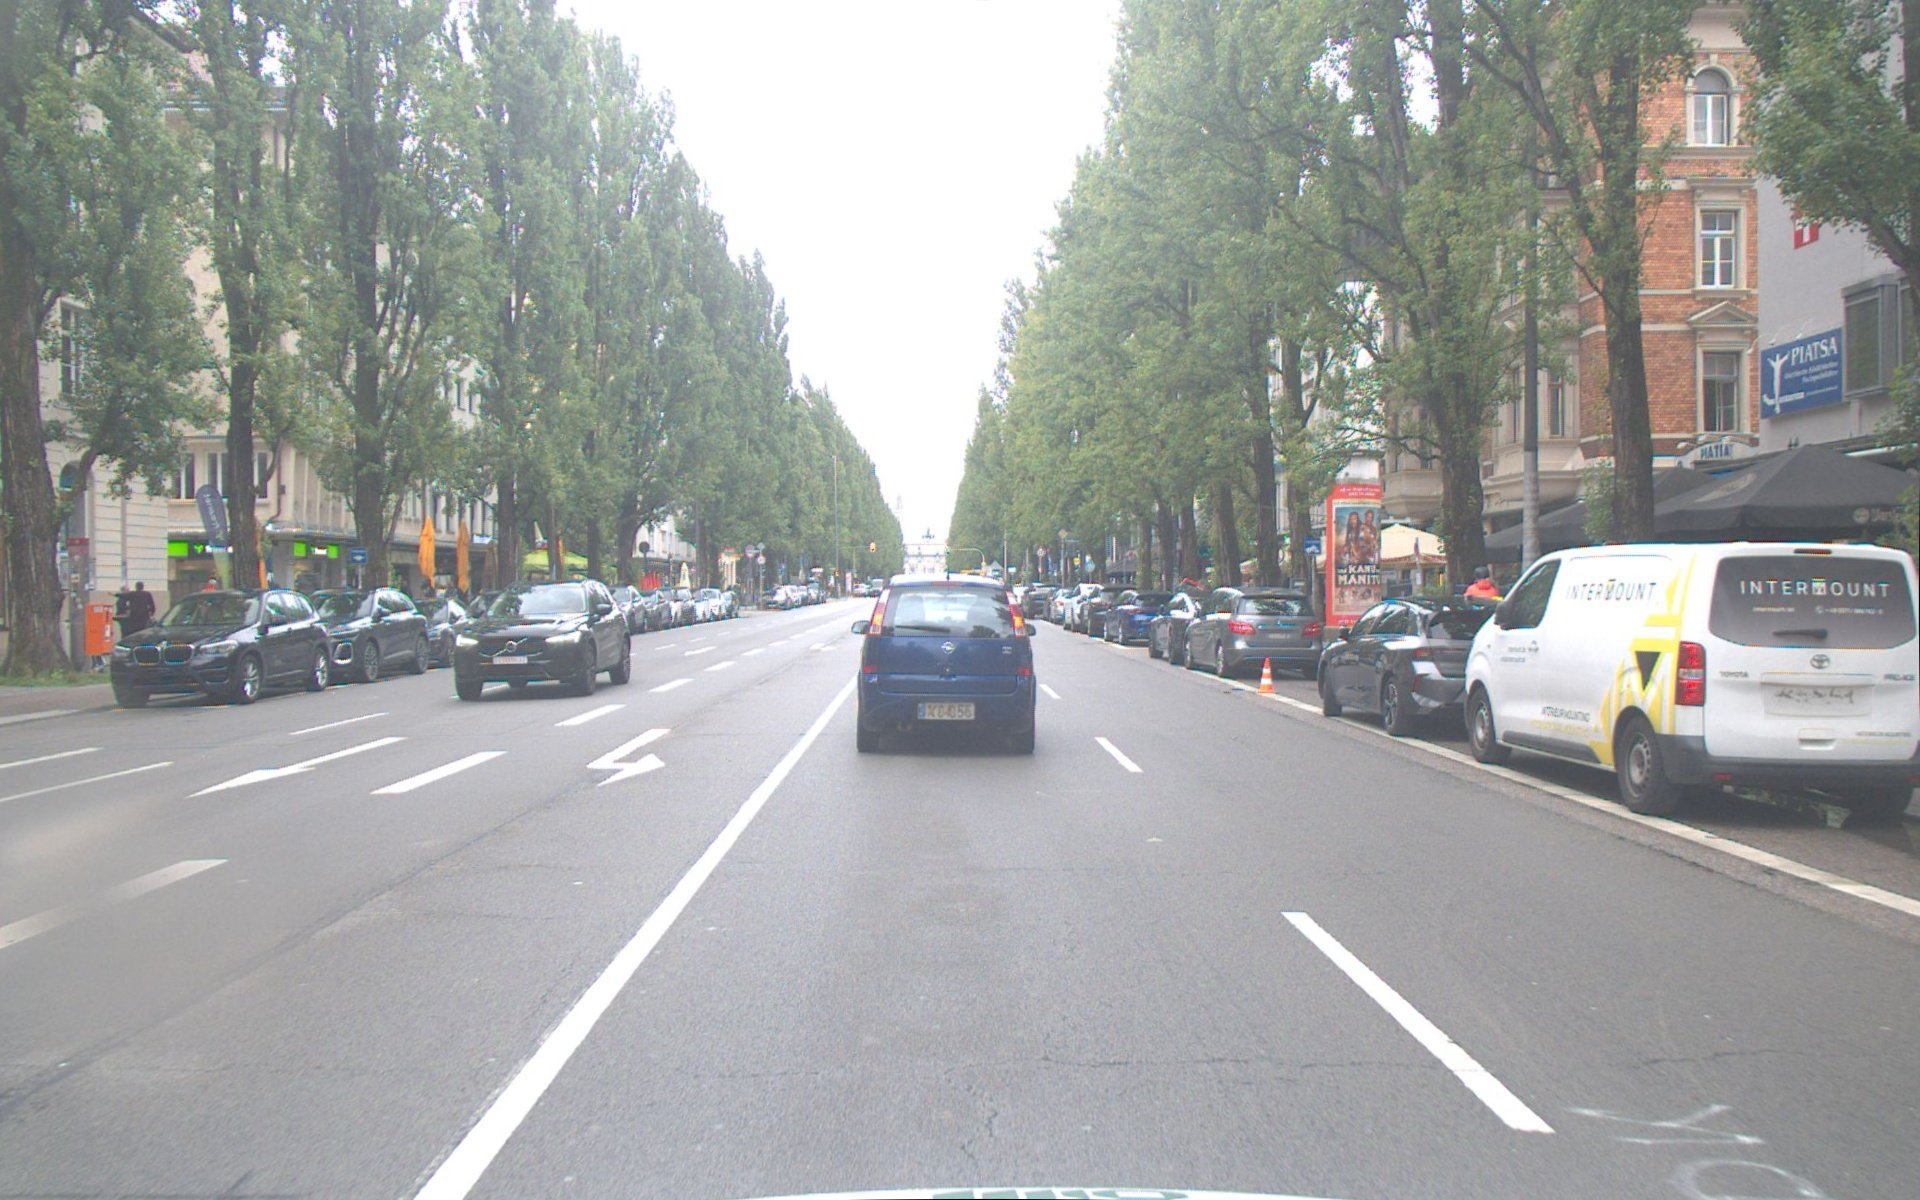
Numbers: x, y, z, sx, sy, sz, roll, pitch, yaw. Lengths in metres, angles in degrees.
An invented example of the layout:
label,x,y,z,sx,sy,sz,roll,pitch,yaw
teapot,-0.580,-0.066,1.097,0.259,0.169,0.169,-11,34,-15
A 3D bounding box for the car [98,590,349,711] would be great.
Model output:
label,x,y,z,sx,sy,sz,roll,pitch,yaw
car,-11.096,0.683,25.315,1.783,1.646,4.715,-1,1,-1

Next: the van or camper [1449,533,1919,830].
label,x,y,z,sx,sy,sz,roll,pitch,yaw
van or camper,5.568,0.506,13.136,1.831,1.916,4.902,0,0,-1

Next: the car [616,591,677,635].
label,x,y,z,sx,sy,sz,roll,pitch,yaw
car,-11.844,0.462,62.653,1.663,1.577,4.080,-1,0,-2

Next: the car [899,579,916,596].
label,x,y,z,sx,sy,sz,roll,pitch,yaw
car,-5.643,-1.352,178.607,1.798,1.792,3.778,-1,0,-2

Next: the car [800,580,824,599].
label,x,y,z,sx,sy,sz,roll,pitch,yaw
car,-13.541,-0.933,151.604,1.953,1.691,3.999,-1,0,-2

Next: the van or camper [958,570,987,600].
label,x,y,z,sx,sy,sz,roll,pitch,yaw
van or camper,1.097,-1.382,149.555,2.426,2.626,5.843,-1,0,-1

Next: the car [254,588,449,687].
label,x,y,z,sx,sy,sz,roll,pitch,yaw
car,-11.061,0.626,30.424,1.766,1.622,4.631,-1,0,1

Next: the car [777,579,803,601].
label,x,y,z,sx,sy,sz,roll,pitch,yaw
car,-12.647,-0.748,123.127,1.620,1.589,3.457,-1,1,-1

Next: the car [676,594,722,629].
label,x,y,z,sx,sy,sz,roll,pitch,yaw
car,-11.932,0.513,75.730,1.540,1.561,2.923,-1,0,1

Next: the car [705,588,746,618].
label,x,y,z,sx,sy,sz,roll,pitch,yaw
car,-12.016,0.156,84.840,1.553,1.472,3.391,-1,1,1

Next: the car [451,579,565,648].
label,x,y,z,sx,sy,sz,roll,pitch,yaw
car,-11.122,0.288,40.945,1.746,1.603,4.131,-1,1,-1

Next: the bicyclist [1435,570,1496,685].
label,x,y,z,sx,sy,sz,roll,pitch,yaw
bicyclist,7.227,0.383,23.656,0.609,1.616,0.753,-1,0,-2

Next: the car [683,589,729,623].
label,x,y,z,sx,sy,sz,roll,pitch,yaw
car,-12.200,0.254,79.607,1.798,1.573,4.084,-1,0,-3

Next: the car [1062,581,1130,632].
label,x,y,z,sx,sy,sz,roll,pitch,yaw
car,4.644,0.202,57.052,1.790,1.649,4.746,1,0,-2

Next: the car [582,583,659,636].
label,x,y,z,sx,sy,sz,roll,pitch,yaw
car,-11.834,0.295,57.854,1.827,1.683,4.614,-3,0,-2

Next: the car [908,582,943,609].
label,x,y,z,sx,sy,sz,roll,pitch,yaw
car,-2.045,-0.297,97.184,1.953,1.523,3.999,-1,1,-2

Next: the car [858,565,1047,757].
label,x,y,z,sx,sy,sz,roll,pitch,yaw
car,-0.134,0.514,16.454,1.647,1.670,3.999,0,1,-2

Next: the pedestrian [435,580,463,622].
label,x,y,z,sx,sy,sz,roll,pitch,yaw
pedestrian,-21.961,0.048,71.109,0.834,1.775,1.148,-1,0,-1

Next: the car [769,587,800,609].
label,x,y,z,sx,sy,sz,roll,pitch,yaw
car,-11.900,-0.162,112.287,1.793,1.445,3.810,0,0,-1

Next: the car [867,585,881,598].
label,x,y,z,sx,sy,sz,roll,pitch,yaw
car,-11.769,-1.136,225.725,1.798,1.769,3.778,-1,0,-2

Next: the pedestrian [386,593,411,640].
label,x,y,z,sx,sy,sz,roll,pitch,yaw
pedestrian,-21.112,0.617,62.192,0.612,1.751,0.827,-1,0,1

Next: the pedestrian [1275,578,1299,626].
label,x,y,z,sx,sy,sz,roll,pitch,yaw
pedestrian,12.718,0.073,64.359,0.714,1.833,0.931,-1,0,-1

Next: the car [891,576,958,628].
label,x,y,z,sx,sy,sz,roll,pitch,yaw
car,-1.096,0.032,50.531,1.953,1.523,3.999,-1,1,-2

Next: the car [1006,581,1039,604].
label,x,y,z,sx,sy,sz,roll,pitch,yaw
car,3.935,-0.480,104.345,1.858,1.386,3.899,-1,0,-1

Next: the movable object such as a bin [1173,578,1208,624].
label,x,y,z,sx,sy,sz,roll,pitch,yaw
movable object such as a bin,8.833,0.024,63.388,1.012,1.733,1.585,-1,0,-5

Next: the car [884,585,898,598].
label,x,y,z,sx,sy,sz,roll,pitch,yaw
car,-9.275,-1.118,223.823,1.798,1.706,3.778,-1,0,-2

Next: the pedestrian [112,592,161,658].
label,x,y,z,sx,sy,sz,roll,pitch,yaw
pedestrian,-19.951,0.593,40.084,0.753,1.564,0.804,1,0,-2

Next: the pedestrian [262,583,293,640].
label,x,y,z,sx,sy,sz,roll,pitch,yaw
pedestrian,-21.061,0.352,51.026,0.612,1.751,0.826,-1,0,-2

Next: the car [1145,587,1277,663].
label,x,y,z,sx,sy,sz,roll,pitch,yaw
car,5.137,0.469,34.519,1.840,1.457,4.802,-1,0,-2

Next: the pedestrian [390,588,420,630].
label,x,y,z,sx,sy,sz,roll,pitch,yaw
pedestrian,-23.265,0.371,69.335,0.834,1.775,1.148,0,0,-1

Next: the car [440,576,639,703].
label,x,y,z,sx,sy,sz,roll,pitch,yaw
car,-6.142,0.523,24.702,1.896,1.651,4.335,-2,0,-1

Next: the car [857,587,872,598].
label,x,y,z,sx,sy,sz,roll,pitch,yaw
car,-13.431,-1.034,231.970,1.922,1.576,3.778,-1,0,-2

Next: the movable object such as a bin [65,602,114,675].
label,x,y,z,sx,sy,sz,roll,pitch,yaw
movable object such as a bin,-16.060,0.705,30.525,0.592,1.339,0.586,-1,0,-1

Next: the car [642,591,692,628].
label,x,y,z,sx,sy,sz,roll,pitch,yaw
car,-12.043,0.373,68.133,1.598,1.453,2.982,-1,0,-2

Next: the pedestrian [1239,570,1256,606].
label,x,y,z,sx,sy,sz,roll,pitch,yaw
pedestrian,13.536,-0.564,77.799,0.641,1.655,0.704,-1,1,-4

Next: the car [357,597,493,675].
label,x,y,z,sx,sy,sz,roll,pitch,yaw
car,-11.385,0.716,35.500,1.651,1.449,4.684,-3,0,-4

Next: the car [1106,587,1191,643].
label,x,y,z,sx,sy,sz,roll,pitch,yaw
car,5.055,0.368,44.804,1.714,1.430,4.463,-1,0,-1

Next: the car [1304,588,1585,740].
label,x,y,z,sx,sy,sz,roll,pitch,yaw
car,5.302,0.628,18.729,1.685,1.467,4.351,2,0,-3

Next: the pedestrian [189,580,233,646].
label,x,y,z,sx,sy,sz,roll,pitch,yaw
pedestrian,-19.566,0.326,43.234,0.719,1.702,0.952,-1,0,-1

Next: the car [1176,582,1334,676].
label,x,y,z,sx,sy,sz,roll,pitch,yaw
car,5.180,0.470,29.566,1.781,1.532,4.229,-1,0,-4

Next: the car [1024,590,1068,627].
label,x,y,z,sx,sy,sz,roll,pitch,yaw
car,3.990,0.360,77.226,1.761,1.621,4.104,1,0,-1

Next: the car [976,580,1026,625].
label,x,y,z,sx,sy,sz,roll,pitch,yaw
car,1.472,0.075,60.776,1.671,1.601,3.999,-1,1,-1

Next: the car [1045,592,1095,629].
label,x,y,z,sx,sy,sz,roll,pitch,yaw
car,4.442,0.400,67.236,1.637,1.431,4.126,1,0,-2

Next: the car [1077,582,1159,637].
label,x,y,z,sx,sy,sz,roll,pitch,yaw
car,4.864,0.267,51.461,1.953,1.592,4.482,-1,0,-2

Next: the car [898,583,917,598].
label,x,y,z,sx,sy,sz,roll,pitch,yaw
car,-5.416,-0.996,171.547,1.922,1.424,3.778,-1,0,-2

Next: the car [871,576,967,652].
label,x,y,z,sx,sy,sz,roll,pitch,yaw
car,-0.900,0.259,35.828,1.953,1.523,3.999,-1,1,-2
